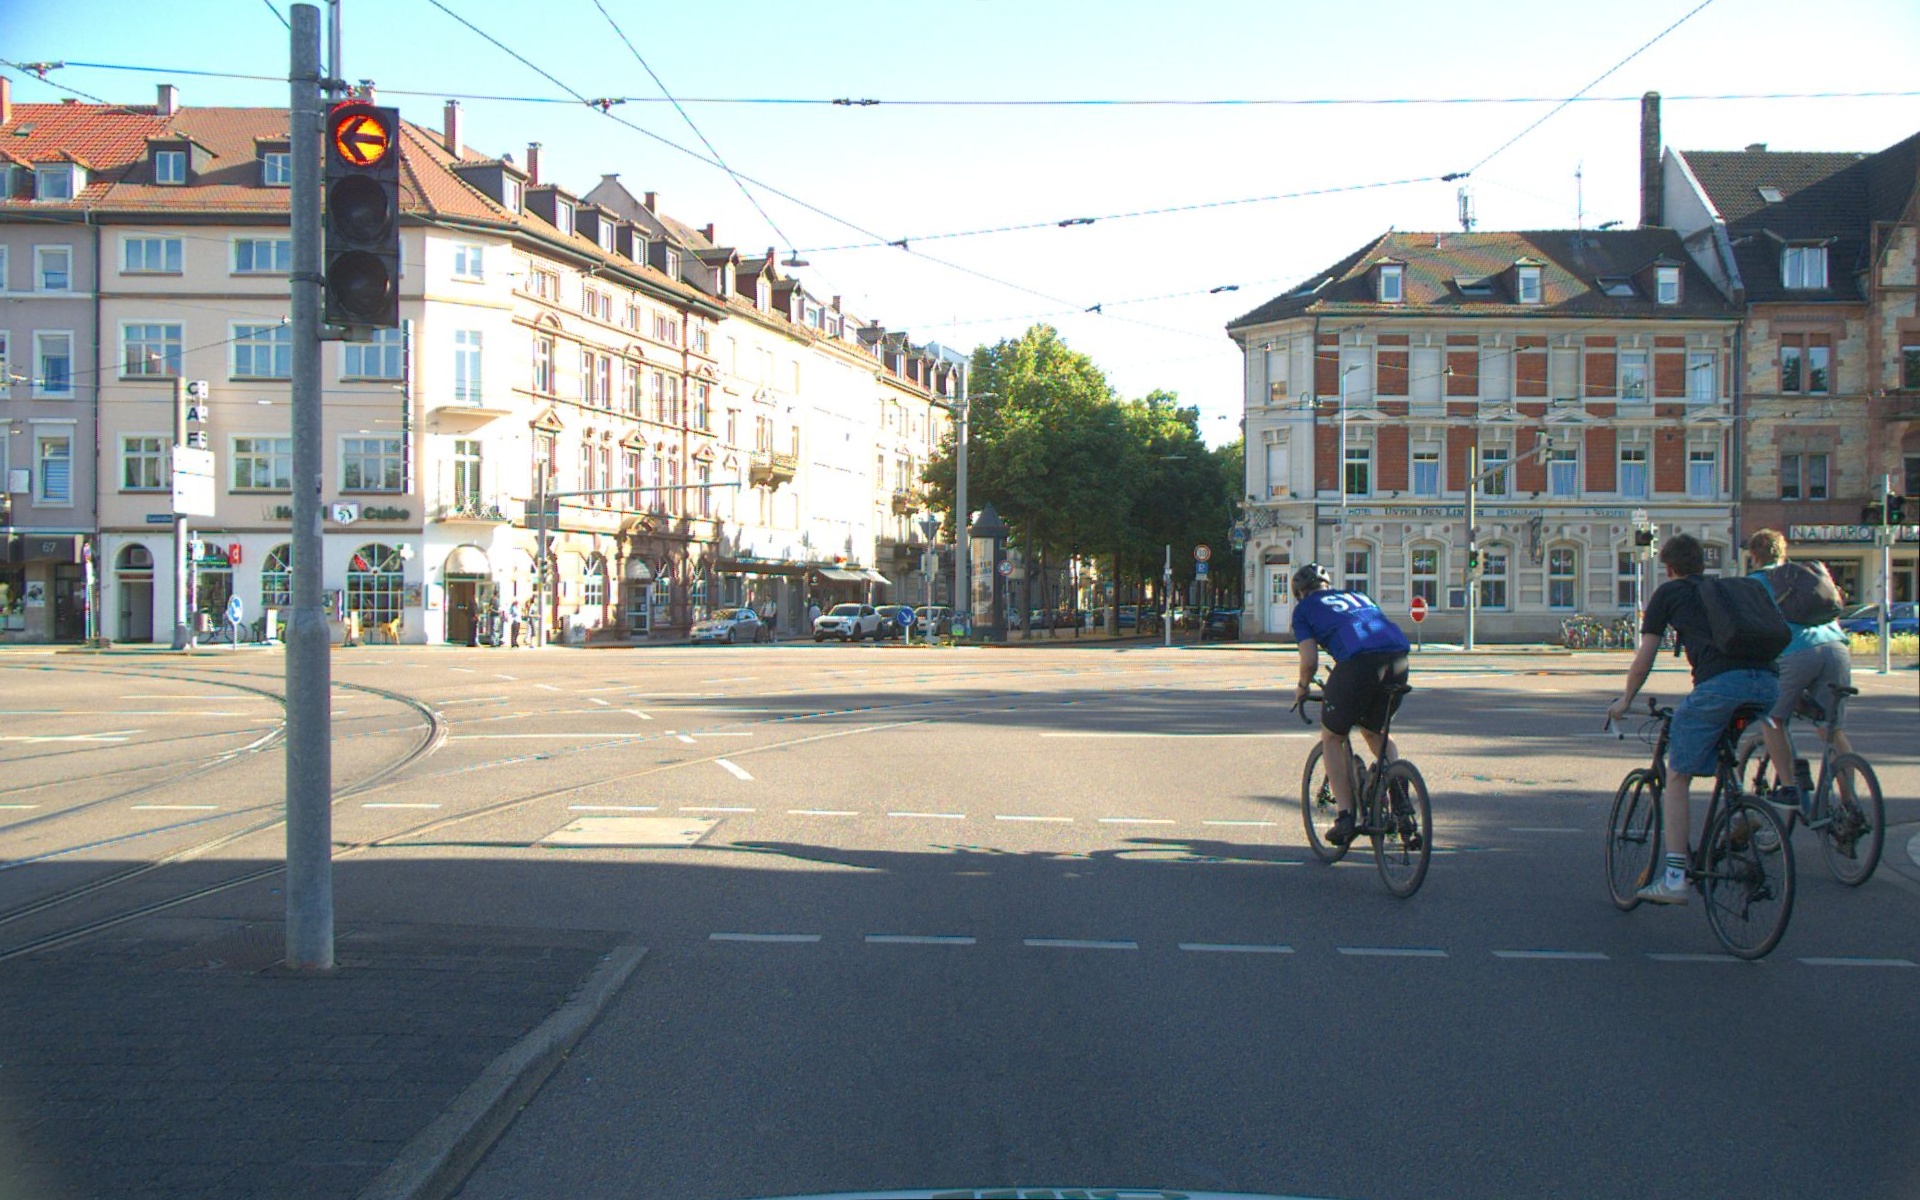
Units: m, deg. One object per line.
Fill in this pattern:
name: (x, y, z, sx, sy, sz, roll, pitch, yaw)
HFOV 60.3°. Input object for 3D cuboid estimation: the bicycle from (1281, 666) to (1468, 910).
bicycle: (2.167, 0.941, 8.831, 0.613, 1.104, 1.703, 1, 0, 2)

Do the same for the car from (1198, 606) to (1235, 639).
car: (12.862, 1.131, 82.781, 1.655, 1.592, 3.844, 1, 0, 11)

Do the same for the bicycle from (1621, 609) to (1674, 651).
bicycle: (22.079, 0.958, 53.157, 0.615, 1.309, 2.661, 1, 0, 0)

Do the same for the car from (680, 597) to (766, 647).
car: (-9.556, 0.876, 66.945, 1.951, 1.937, 4.002, 1, 0, 17)

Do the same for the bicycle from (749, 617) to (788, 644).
bicycle: (-7.535, 1.205, 65.163, 0.746, 1.025, 2.398, 1, 0, 13)

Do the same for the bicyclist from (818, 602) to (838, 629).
bicyclist: (-5.831, 0.681, 73.156, 0.618, 1.205, 0.685, 1, -1, 20)

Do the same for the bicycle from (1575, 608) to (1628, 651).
bicycle: (20.591, 0.931, 53.133, 0.678, 1.309, 2.661, 1, 0, 0)

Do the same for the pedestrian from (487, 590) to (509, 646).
pedestrian: (-15.855, 0.613, 56.752, 0.620, 1.914, 0.465, 1, -1, -5)

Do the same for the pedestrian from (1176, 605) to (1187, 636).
pedestrian: (13.453, 1.238, 100.320, 0.626, 1.827, 0.491, 1, -1, 12)

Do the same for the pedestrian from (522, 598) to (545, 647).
pedestrian: (-14.680, 0.762, 56.957, 0.620, 1.662, 0.700, 1, -1, -4)

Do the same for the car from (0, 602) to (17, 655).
car: (-32.391, 0.912, 52.433, 3.902, 1.699, 2.002, 0, 0, 8)

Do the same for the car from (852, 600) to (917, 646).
car: (-3.315, 1.011, 73.578, 1.951, 1.937, 4.003, 1, 0, 11)

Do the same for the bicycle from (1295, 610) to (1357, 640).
bicycle: (12.657, 0.866, 57.267, 2.006, 1.015, 0.631, 0, -1, 2)

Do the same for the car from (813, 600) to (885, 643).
car: (-4.489, 0.864, 67.376, 1.951, 1.646, 4.003, 1, 0, 11)

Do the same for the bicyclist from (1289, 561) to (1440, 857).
bicyclist: (2.184, 0.555, 9.016, 0.625, 1.520, 0.884, 1, 1, 3)

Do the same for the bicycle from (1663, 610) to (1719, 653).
bicycle: (23.478, 0.998, 53.180, 0.615, 1.309, 2.661, 1, 0, 0)

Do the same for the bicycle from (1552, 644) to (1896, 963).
bicycle: (3.433, 0.856, 7.621, 0.740, 1.258, 1.702, 1, 0, -2)

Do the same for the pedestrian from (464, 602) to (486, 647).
pedestrian: (-16.404, 0.834, 55.944, 0.620, 1.502, 0.465, 1, -1, -5)

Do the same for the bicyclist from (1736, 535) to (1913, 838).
bicyclist: (4.991, 0.476, 9.600, 0.675, 1.662, 0.884, 1, -1, 11)

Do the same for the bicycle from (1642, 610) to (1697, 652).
bicycle: (22.793, 0.986, 53.181, 0.615, 1.309, 2.661, 1, 0, 0)

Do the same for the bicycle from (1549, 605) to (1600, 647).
bicycle: (19.737, 0.815, 53.173, 0.678, 1.309, 2.661, 1, 0, 0)

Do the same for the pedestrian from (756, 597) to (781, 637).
pedestrian: (-7.547, 0.666, 65.092, 0.803, 1.539, 0.598, 1, -1, 14)

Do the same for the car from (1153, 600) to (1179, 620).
car: (16.774, 0.835, 134.826, 1.526, 1.540, 3.658, 1, 0, 16)

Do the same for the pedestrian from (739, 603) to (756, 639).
pedestrian: (-9.890, 0.978, 76.879, 0.532, 1.660, 0.707, 1, -1, 13)

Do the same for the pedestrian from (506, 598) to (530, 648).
pedestrian: (-14.866, 0.776, 55.676, 0.620, 1.662, 0.700, 1, -1, -4)

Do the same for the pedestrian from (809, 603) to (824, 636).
pedestrian: (-7.295, 0.985, 84.155, 0.532, 1.660, 0.707, 1, -1, 13)

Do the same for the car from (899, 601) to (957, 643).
car: (-1.520, 1.068, 79.768, 1.951, 1.937, 4.003, 1, 0, 11)

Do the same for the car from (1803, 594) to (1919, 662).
car: (25.830, 0.770, 46.053, 3.706, 1.809, 1.999, 1, 0, -2)

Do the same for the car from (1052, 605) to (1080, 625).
car: (8.482, 1.196, 132.180, 1.526, 1.540, 3.658, 1, 0, 16)

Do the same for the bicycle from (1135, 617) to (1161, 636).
bicycle: (11.275, 1.571, 99.229, 0.619, 1.104, 1.685, 1, 0, -31)

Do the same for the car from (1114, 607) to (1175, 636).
car: (12.844, 1.465, 115.158, 3.902, 1.937, 2.001, 1, 0, 15)

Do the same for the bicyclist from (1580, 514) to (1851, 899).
bicyclist: (3.399, 0.460, 7.514, 0.789, 1.634, 0.883, 1, -1, -3)

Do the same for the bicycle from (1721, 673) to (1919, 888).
bicycle: (4.963, 0.984, 9.569, 0.635, 1.049, 1.772, 1, 0, 12)

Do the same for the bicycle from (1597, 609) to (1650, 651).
bicycle: (21.301, 0.942, 53.154, 0.615, 1.309, 2.661, 1, 0, 0)

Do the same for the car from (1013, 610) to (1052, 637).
car: (5.424, 1.721, 122.745, 1.951, 1.937, 4.002, 1, 0, 16)

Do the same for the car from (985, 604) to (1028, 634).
car: (3.174, 1.288, 112.742, 1.951, 1.937, 4.002, 1, 0, 16)

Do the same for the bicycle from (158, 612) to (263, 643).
bicycle: (-25.522, 0.941, 56.355, 3.066, 0.997, 1.001, 1, 0, -1)

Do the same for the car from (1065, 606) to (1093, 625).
car: (9.804, 1.285, 136.321, 1.526, 1.540, 3.658, 1, 0, 16)
